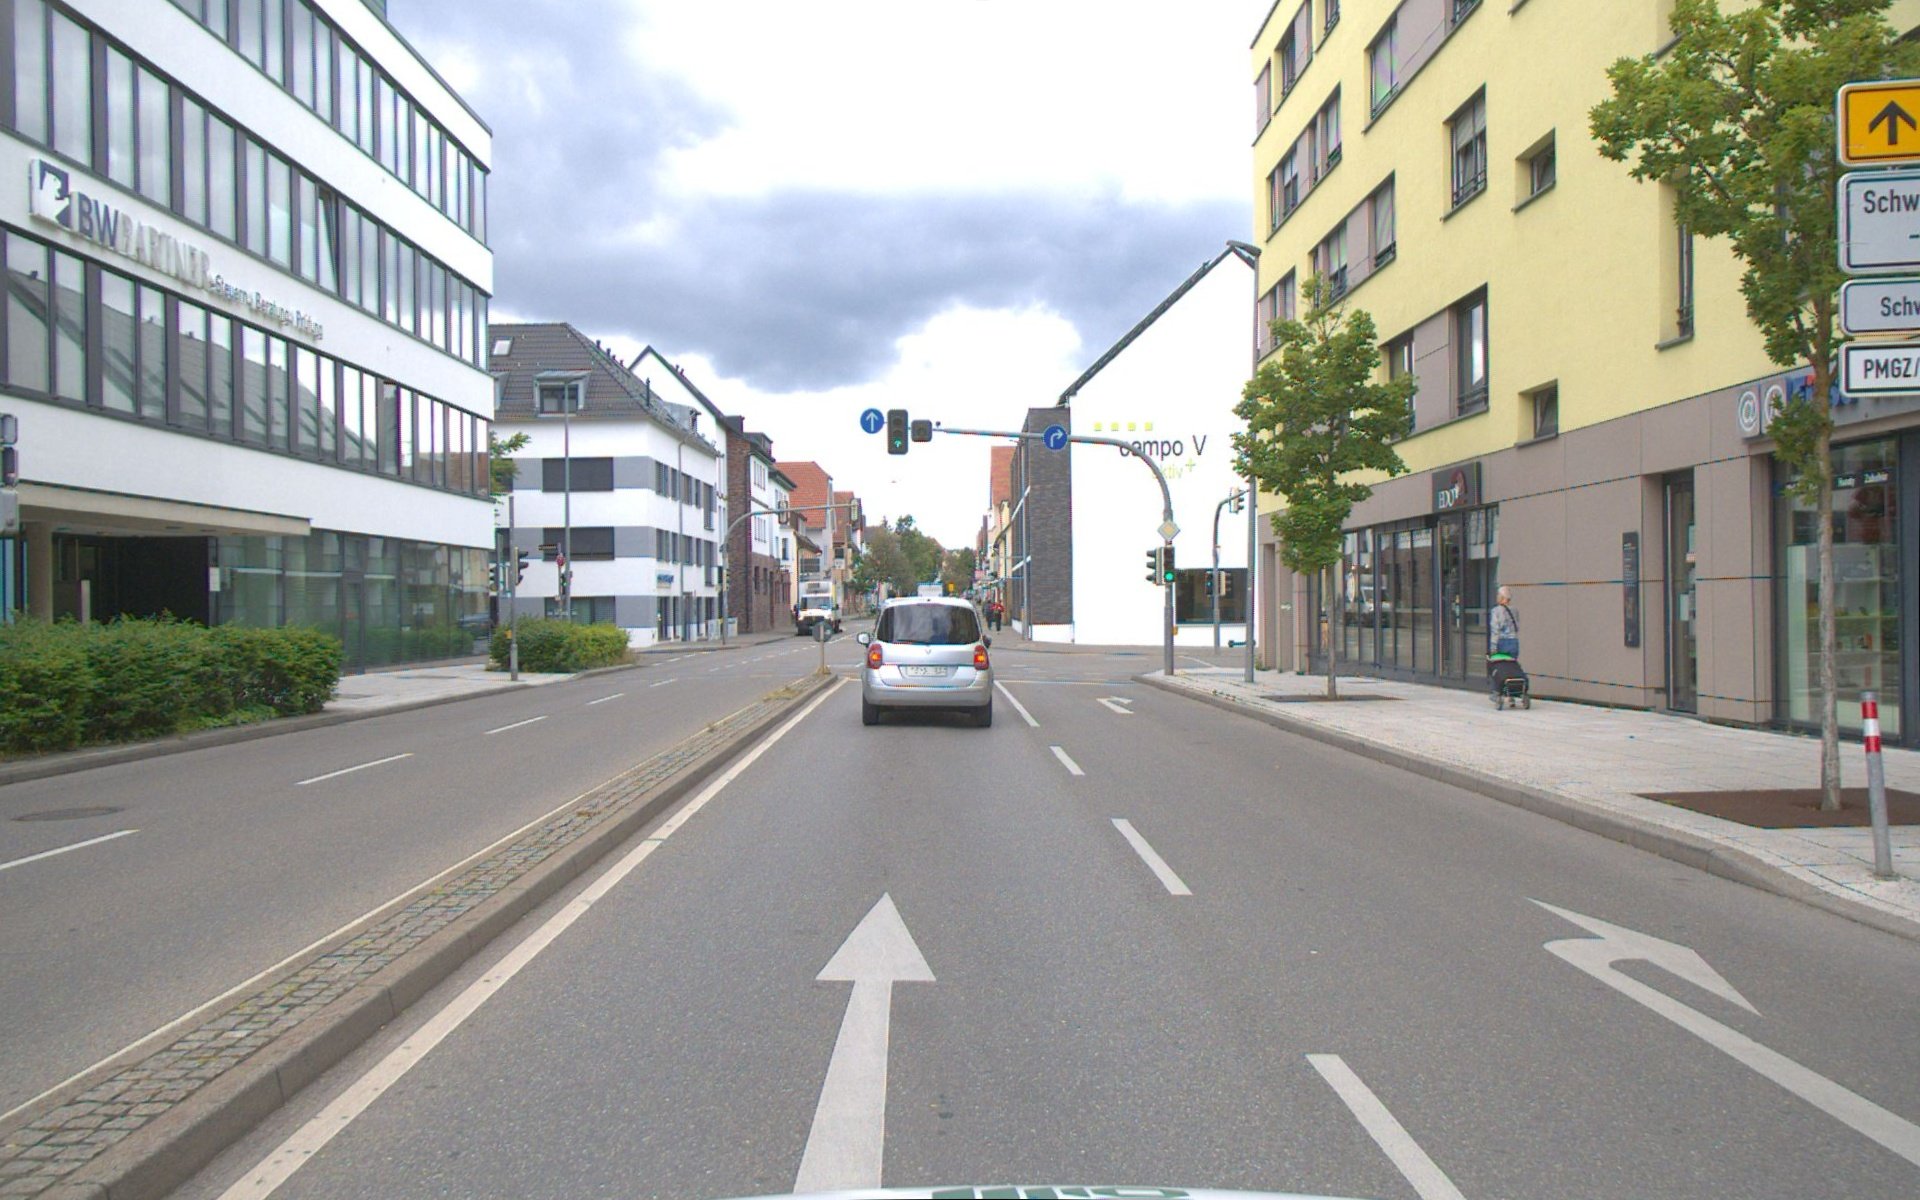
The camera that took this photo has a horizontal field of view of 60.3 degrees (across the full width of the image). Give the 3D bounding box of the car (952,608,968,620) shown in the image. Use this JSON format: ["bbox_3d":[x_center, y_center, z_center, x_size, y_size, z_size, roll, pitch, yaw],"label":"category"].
[{"bbox_3d":[-0.007,1.620,195.045,1.776,1.378,4.000,-2,0,0],"label":"car"}]

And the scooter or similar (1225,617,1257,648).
[{"bbox_3d":[11.559,1.327,68.064,1.205,1.257,0.406,1,0,0],"label":"scooter or similar"}]

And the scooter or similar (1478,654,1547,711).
[{"bbox_3d":[7.189,1.071,21.550,0.580,0.684,0.824,-2,0,-2],"label":"scooter or similar"}]

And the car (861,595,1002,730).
[{"bbox_3d":[-0.375,0.762,21.928,1.672,1.606,3.999,1,0,-1],"label":"car"}]

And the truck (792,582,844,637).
[{"bbox_3d":[-8.062,0.550,94.706,2.385,3.005,8.362,0,0,-1],"label":"truck"}]

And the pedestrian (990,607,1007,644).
[{"bbox_3d":[1.973,1.294,84.967,0.791,1.818,0.861,-3,0,0],"label":"pedestrian"}]

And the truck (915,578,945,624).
[{"bbox_3d":[-2.652,0.076,147.952,2.542,3.925,6.848,0,0,0],"label":"truck"}]

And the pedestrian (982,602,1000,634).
[{"bbox_3d":[1.796,1.035,95.907,0.871,1.818,0.785,-3,0,0],"label":"pedestrian"}]

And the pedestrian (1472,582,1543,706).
[{"bbox_3d":[7.367,0.586,22.275,0.681,1.621,0.603,-2,0,-2],"label":"pedestrian"}]
